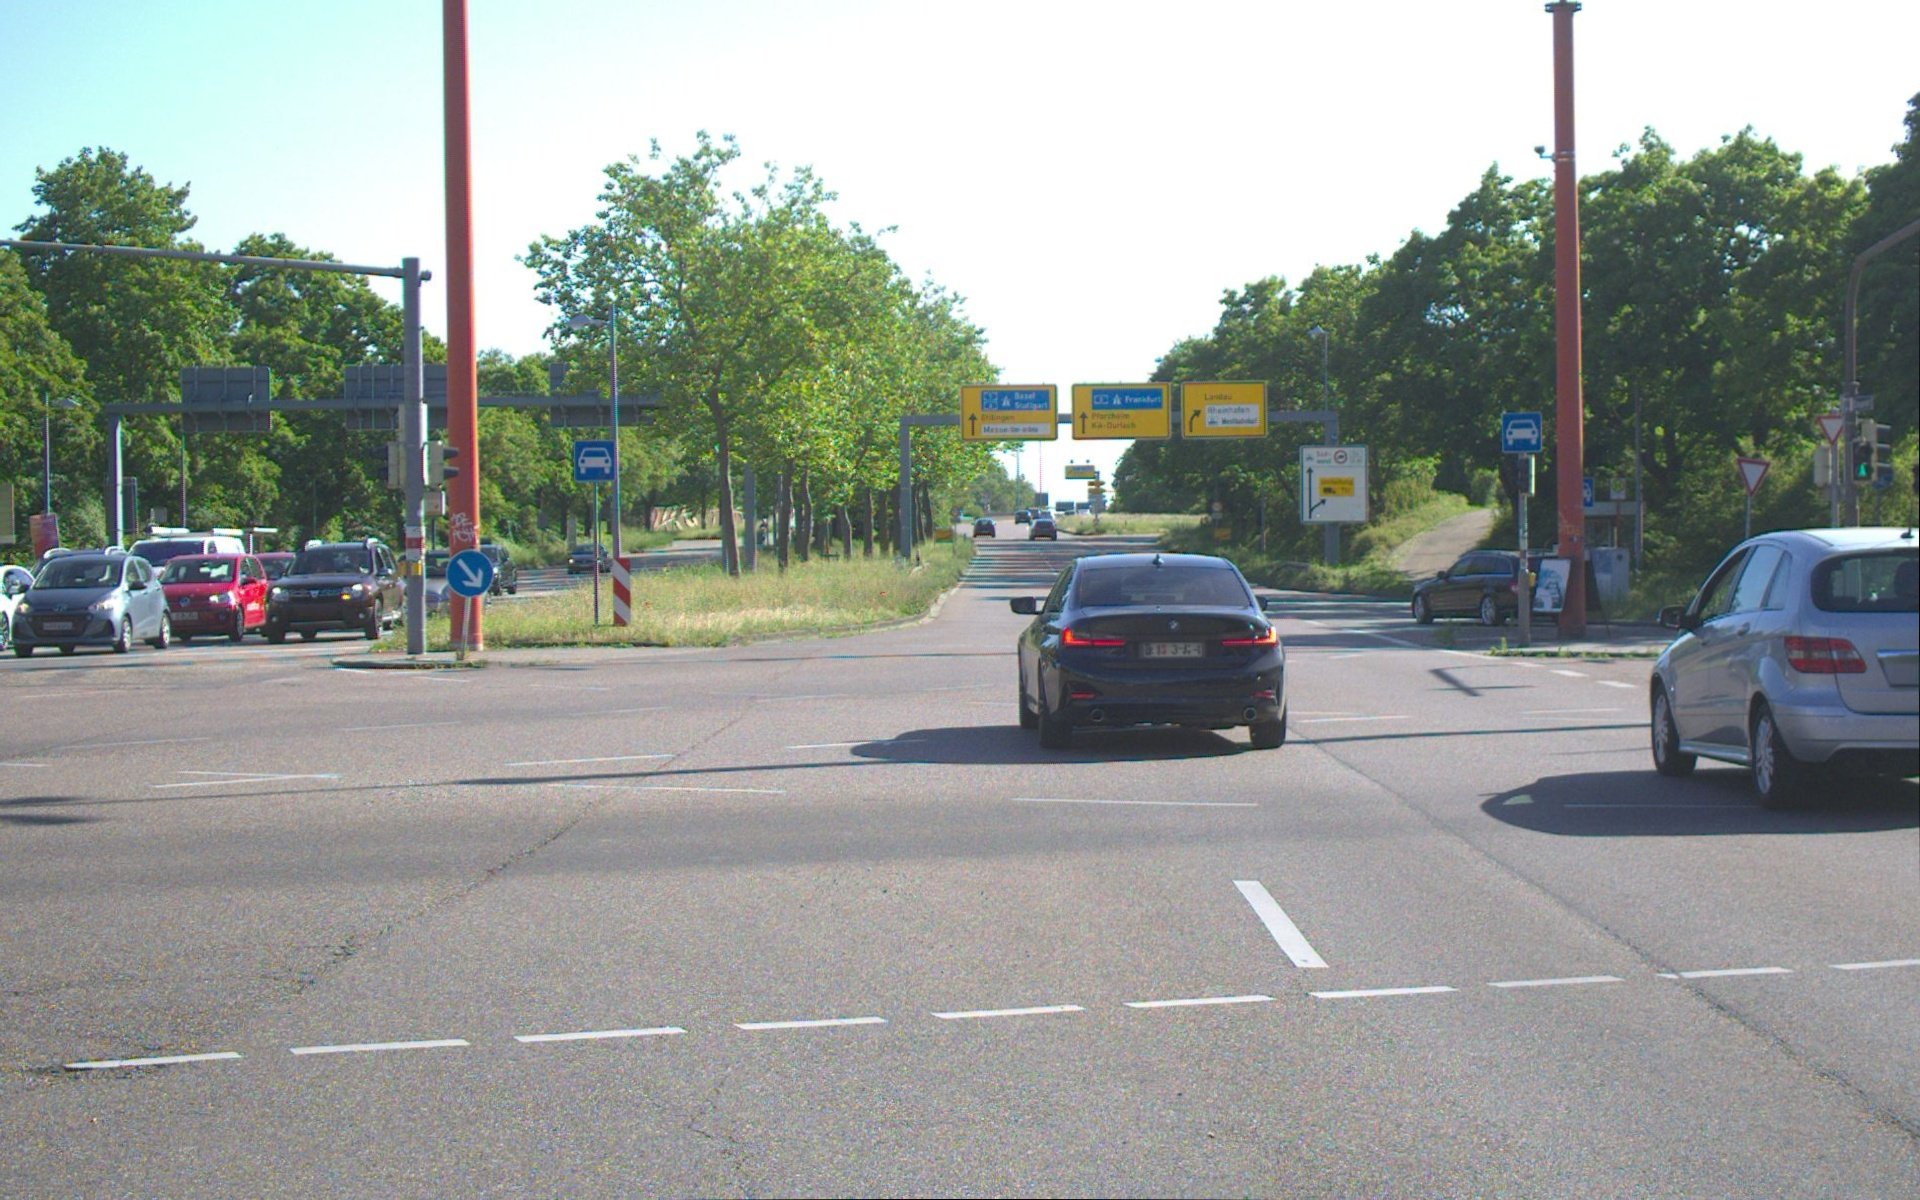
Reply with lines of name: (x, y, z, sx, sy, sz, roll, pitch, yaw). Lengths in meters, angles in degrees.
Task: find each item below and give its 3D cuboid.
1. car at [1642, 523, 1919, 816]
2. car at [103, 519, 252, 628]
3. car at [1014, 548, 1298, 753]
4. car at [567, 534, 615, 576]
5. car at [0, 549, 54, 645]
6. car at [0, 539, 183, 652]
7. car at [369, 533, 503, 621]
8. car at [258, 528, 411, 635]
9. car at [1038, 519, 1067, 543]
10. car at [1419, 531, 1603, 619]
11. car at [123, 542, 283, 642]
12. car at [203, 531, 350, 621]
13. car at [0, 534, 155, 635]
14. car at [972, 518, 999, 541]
car: (5.395, 0.369, 20.863, 1.716, 1.602, 3.847, 1, 1, 0)
car: (-16.067, -0.571, 70.829, 1.961, 2.147, 5.082, -1, 1, -1)
car: (1.431, 0.338, 26.620, 1.763, 1.436, 4.295, 1, 1, -2)
car: (-18.026, -2.193, 168.161, 1.920, 1.992, 4.604, -1, 1, -1)
car: (-16.531, -0.053, 57.281, 1.901, 1.549, 4.000, -2, 1, -2)
car: (-13.217, -0.102, 52.290, 1.874, 1.545, 4.028, -2, 1, -1)
car: (-9.688, -0.448, 63.845, 1.885, 1.538, 4.000, -2, 1, -1)
car: (-10.211, -0.331, 56.366, 1.793, 1.620, 4.144, -2, 1, -1)
car: (6.840, -5.084, 255.053, 1.993, 1.727, 4.000, 1, 1, -1)
car: (10.564, -0.488, 66.175, 1.763, 1.630, 4.300, 1, 1, -17)
car: (-12.865, -0.162, 58.628, 1.875, 1.547, 4.000, -4, 1, -2)
car: (-12.805, -0.458, 64.625, 1.901, 1.624, 4.000, 0, 1, 1)
car: (-16.397, -0.309, 63.771, 1.874, 1.778, 4.000, -1, 1, 1)
car: (1.967, -5.375, 263.335, 1.993, 1.727, 4.000, 1, 1, -1)
